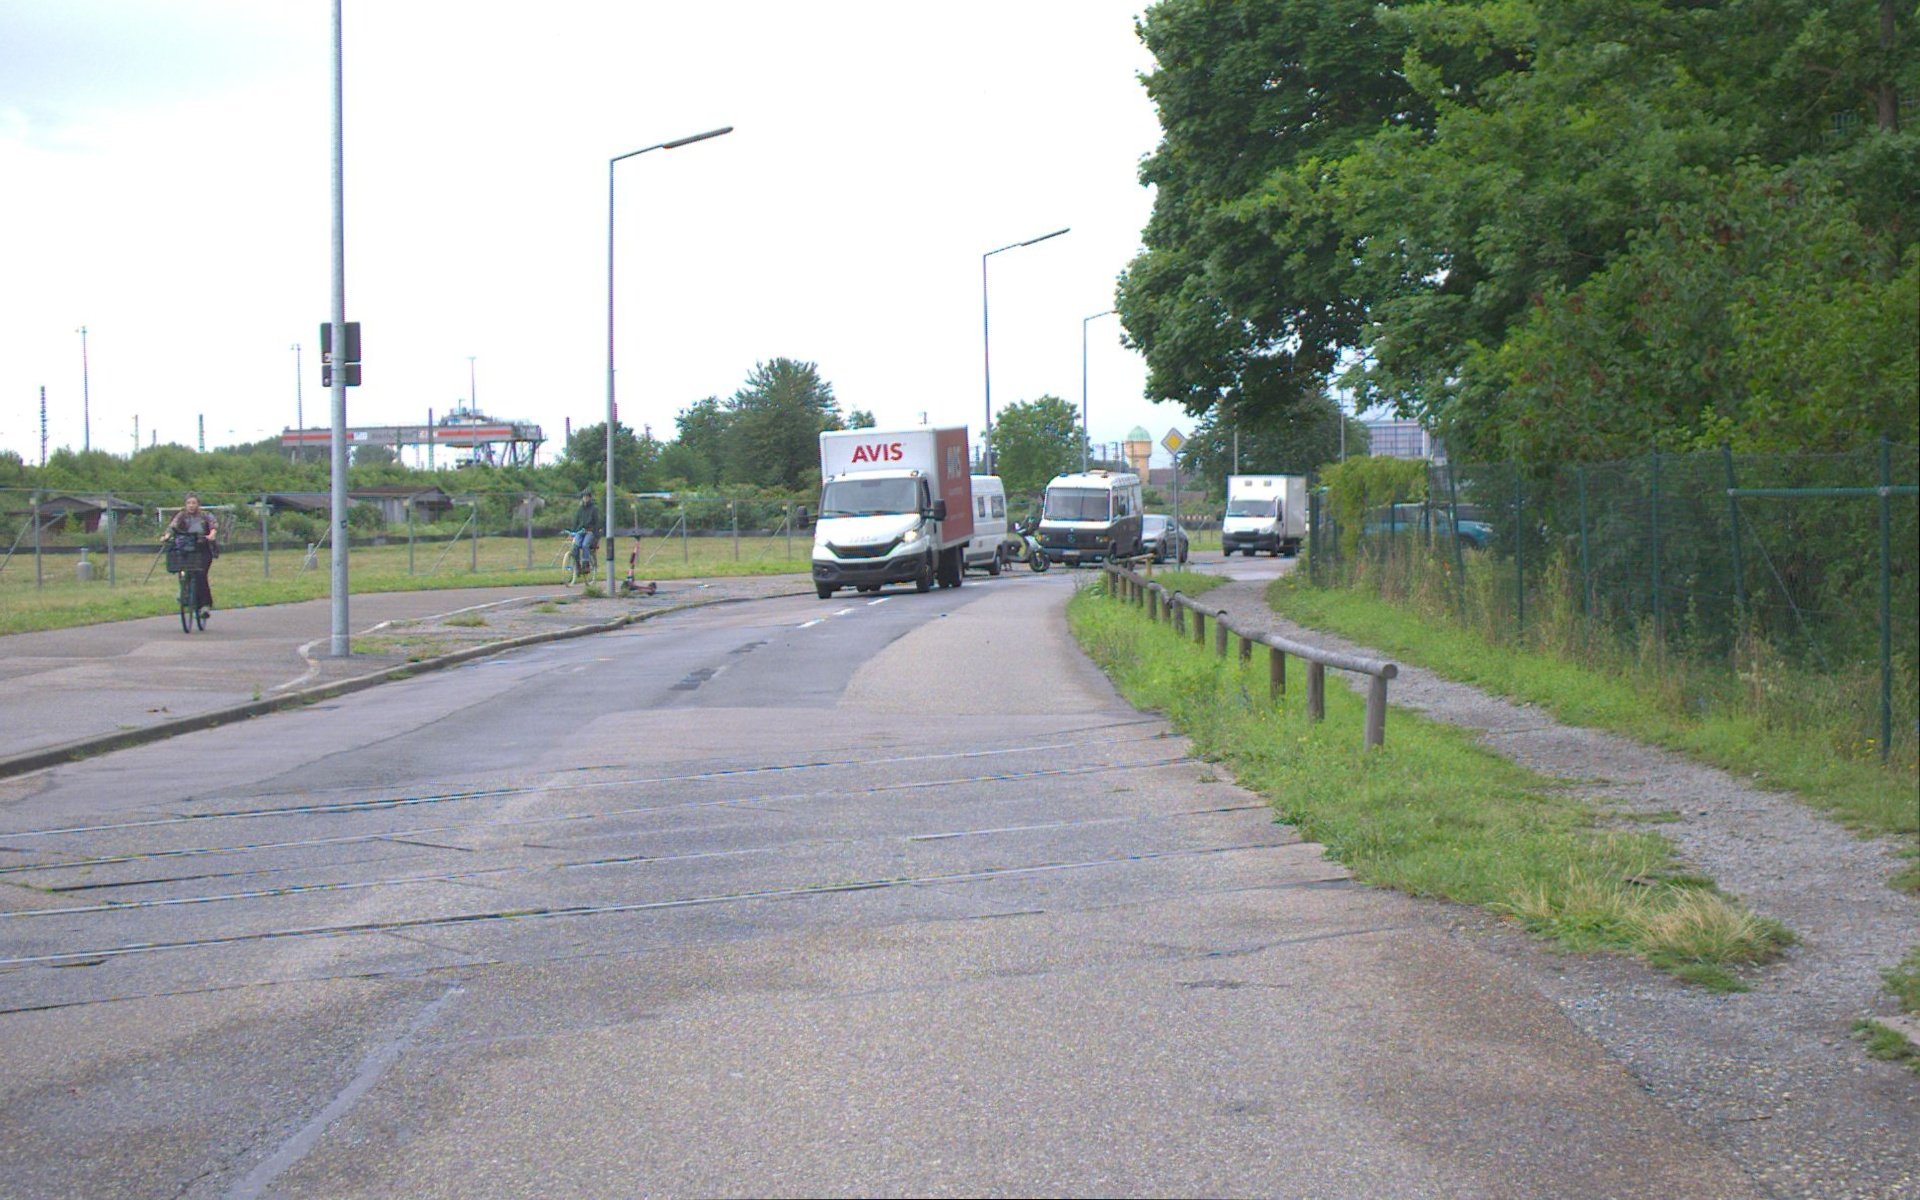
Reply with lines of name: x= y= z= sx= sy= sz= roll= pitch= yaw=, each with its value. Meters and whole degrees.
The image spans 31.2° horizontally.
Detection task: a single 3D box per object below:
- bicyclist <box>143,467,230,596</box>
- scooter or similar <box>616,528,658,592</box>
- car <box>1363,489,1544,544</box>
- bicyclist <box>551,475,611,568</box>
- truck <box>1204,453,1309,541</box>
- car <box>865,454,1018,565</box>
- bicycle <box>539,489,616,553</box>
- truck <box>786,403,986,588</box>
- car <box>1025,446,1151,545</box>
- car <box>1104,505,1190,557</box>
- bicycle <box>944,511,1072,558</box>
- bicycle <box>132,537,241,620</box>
bicyclist: x=-9.370 y=-0.839 z=41.679 sx=0.782 sy=1.521 sz=1.094 roll=-1 pitch=3 yaw=0
scooter or similar: x=-6.243 y=-0.785 z=66.490 sx=0.608 sy=1.178 sz=1.702 roll=1 pitch=2 yaw=1
car: x=13.877 y=-2.351 z=96.651 sx=4.864 sy=1.495 sz=1.841 roll=0 pitch=3 yaw=15
bicyclist: x=-7.564 y=-1.568 z=68.594 sx=0.827 sy=1.815 sz=1.330 roll=0 pitch=3 yaw=10
truck: x=10.929 y=-3.833 z=126.022 sx=2.463 sy=3.049 sz=8.158 roll=0 pitch=2 yaw=15
car: x=-0.386 y=-2.256 z=83.963 sx=2.290 sy=2.546 sz=6.407 roll=-1 pitch=2 yaw=13
bicycle: x=-7.586 y=-1.582 z=68.368 sx=0.819 sy=1.199 sz=2.556 roll=0 pitch=3 yaw=10
truck: x=-1.245 y=-1.946 z=62.746 sx=2.341 sy=3.051 sz=7.495 roll=-3 pitch=2 yaw=8
car: x=3.742 y=-3.056 z=99.352 sx=2.302 sy=2.724 sz=6.088 roll=0 pitch=3 yaw=15
car: x=5.803 y=-2.144 z=106.232 sx=1.781 sy=1.499 sz=3.997 roll=0 pitch=3 yaw=16
bicycle: x=1.276 y=-1.736 z=91.092 sx=3.122 sy=1.195 sz=1.364 roll=0 pitch=3 yaw=15
bicycle: x=-9.362 y=-0.278 z=41.697 sx=0.803 sy=0.904 sz=2.233 roll=-1 pitch=3 yaw=0
